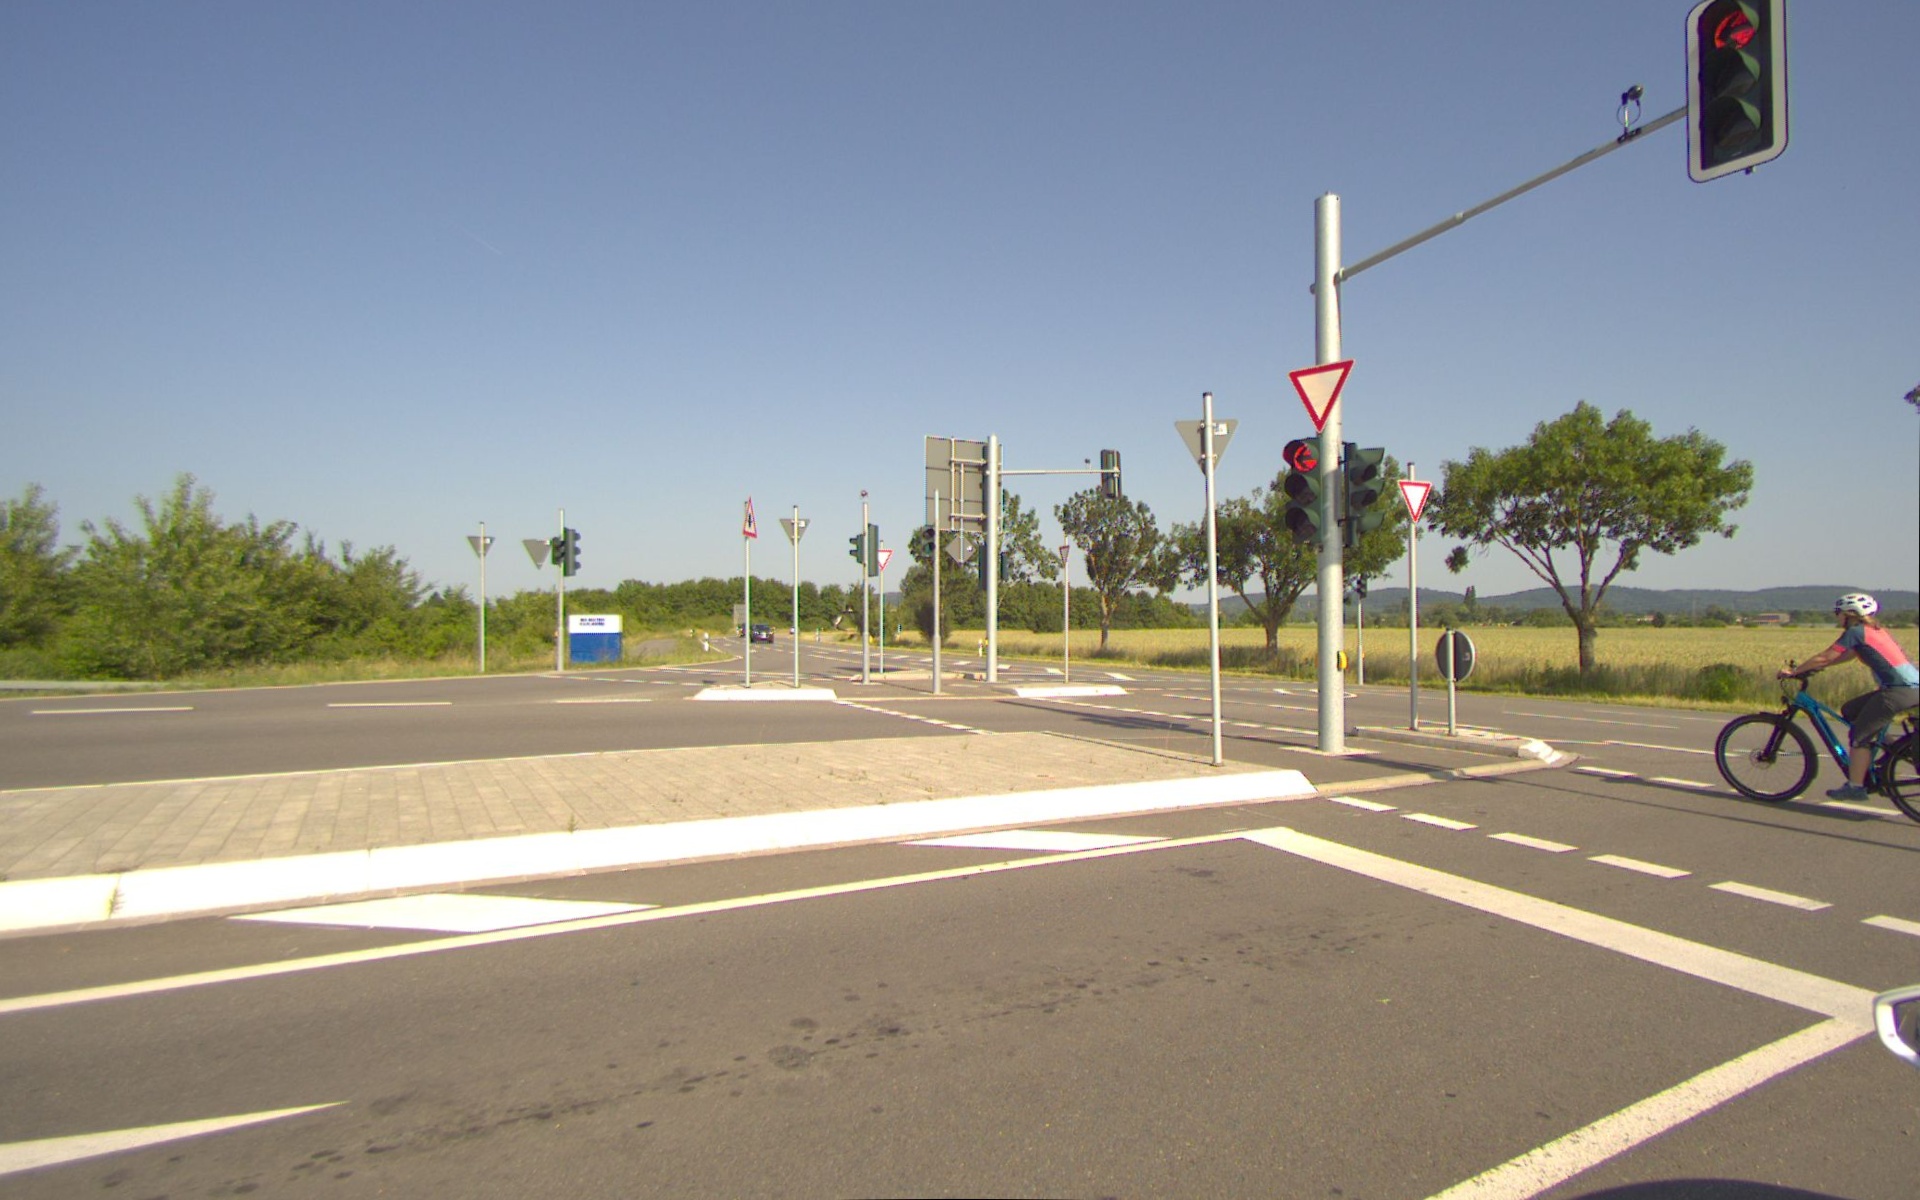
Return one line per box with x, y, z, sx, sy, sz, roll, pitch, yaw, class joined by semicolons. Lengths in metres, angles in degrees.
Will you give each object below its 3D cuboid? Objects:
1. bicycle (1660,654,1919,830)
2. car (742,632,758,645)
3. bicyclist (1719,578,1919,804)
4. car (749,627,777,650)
6.972;1.076;7.975;0.881;1.202;2.142;2;-1;-34;bicycle
-26.258;4.870;125.657;1.740;1.578;3.843;2;-3;-15;car
7.023;0.656;8.000;1.153;1.623;1.271;0;0;-34;bicyclist
-17.639;3.417;89.804;1.968;1.746;4.601;2;0;-17;car
